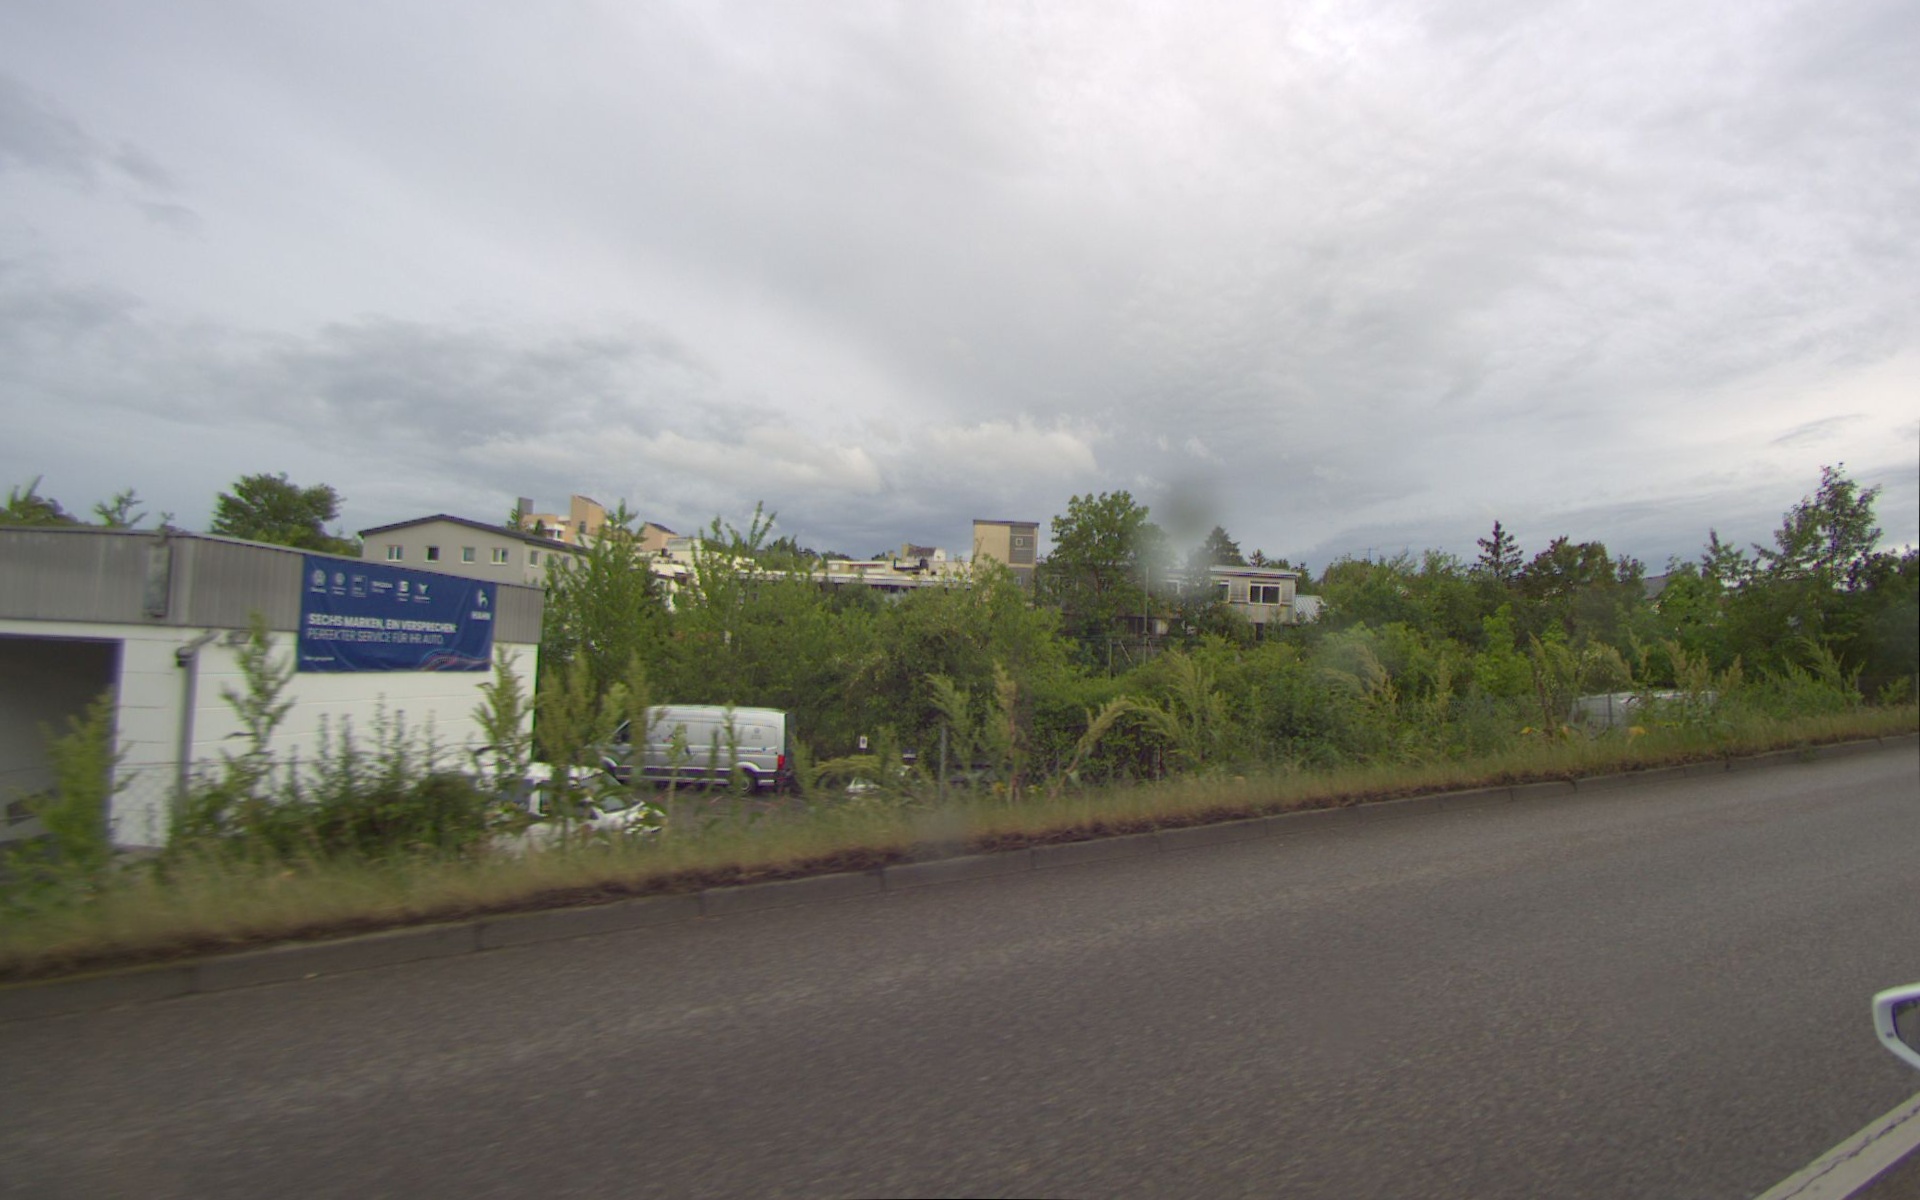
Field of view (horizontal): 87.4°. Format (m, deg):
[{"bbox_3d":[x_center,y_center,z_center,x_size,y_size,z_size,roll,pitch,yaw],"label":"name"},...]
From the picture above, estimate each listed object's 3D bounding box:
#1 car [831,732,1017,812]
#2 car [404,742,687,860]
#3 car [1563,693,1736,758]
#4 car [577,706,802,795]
[{"bbox_3d":[-0.887,4.375,25.845,4.549,1.713,1.869,-3,-6,1],"label":"car"},{"bbox_3d":[-7.716,3.734,18.995,4.549,1.826,1.869,-3,-6,1],"label":"car"},{"bbox_3d":[18.435,3.314,26.881,4.001,1.543,1.652,1,-3,-17],"label":"car"},{"bbox_3d":[-8.321,4.642,31.291,6.464,2.492,1.987,-1,-5,1],"label":"car"}]
